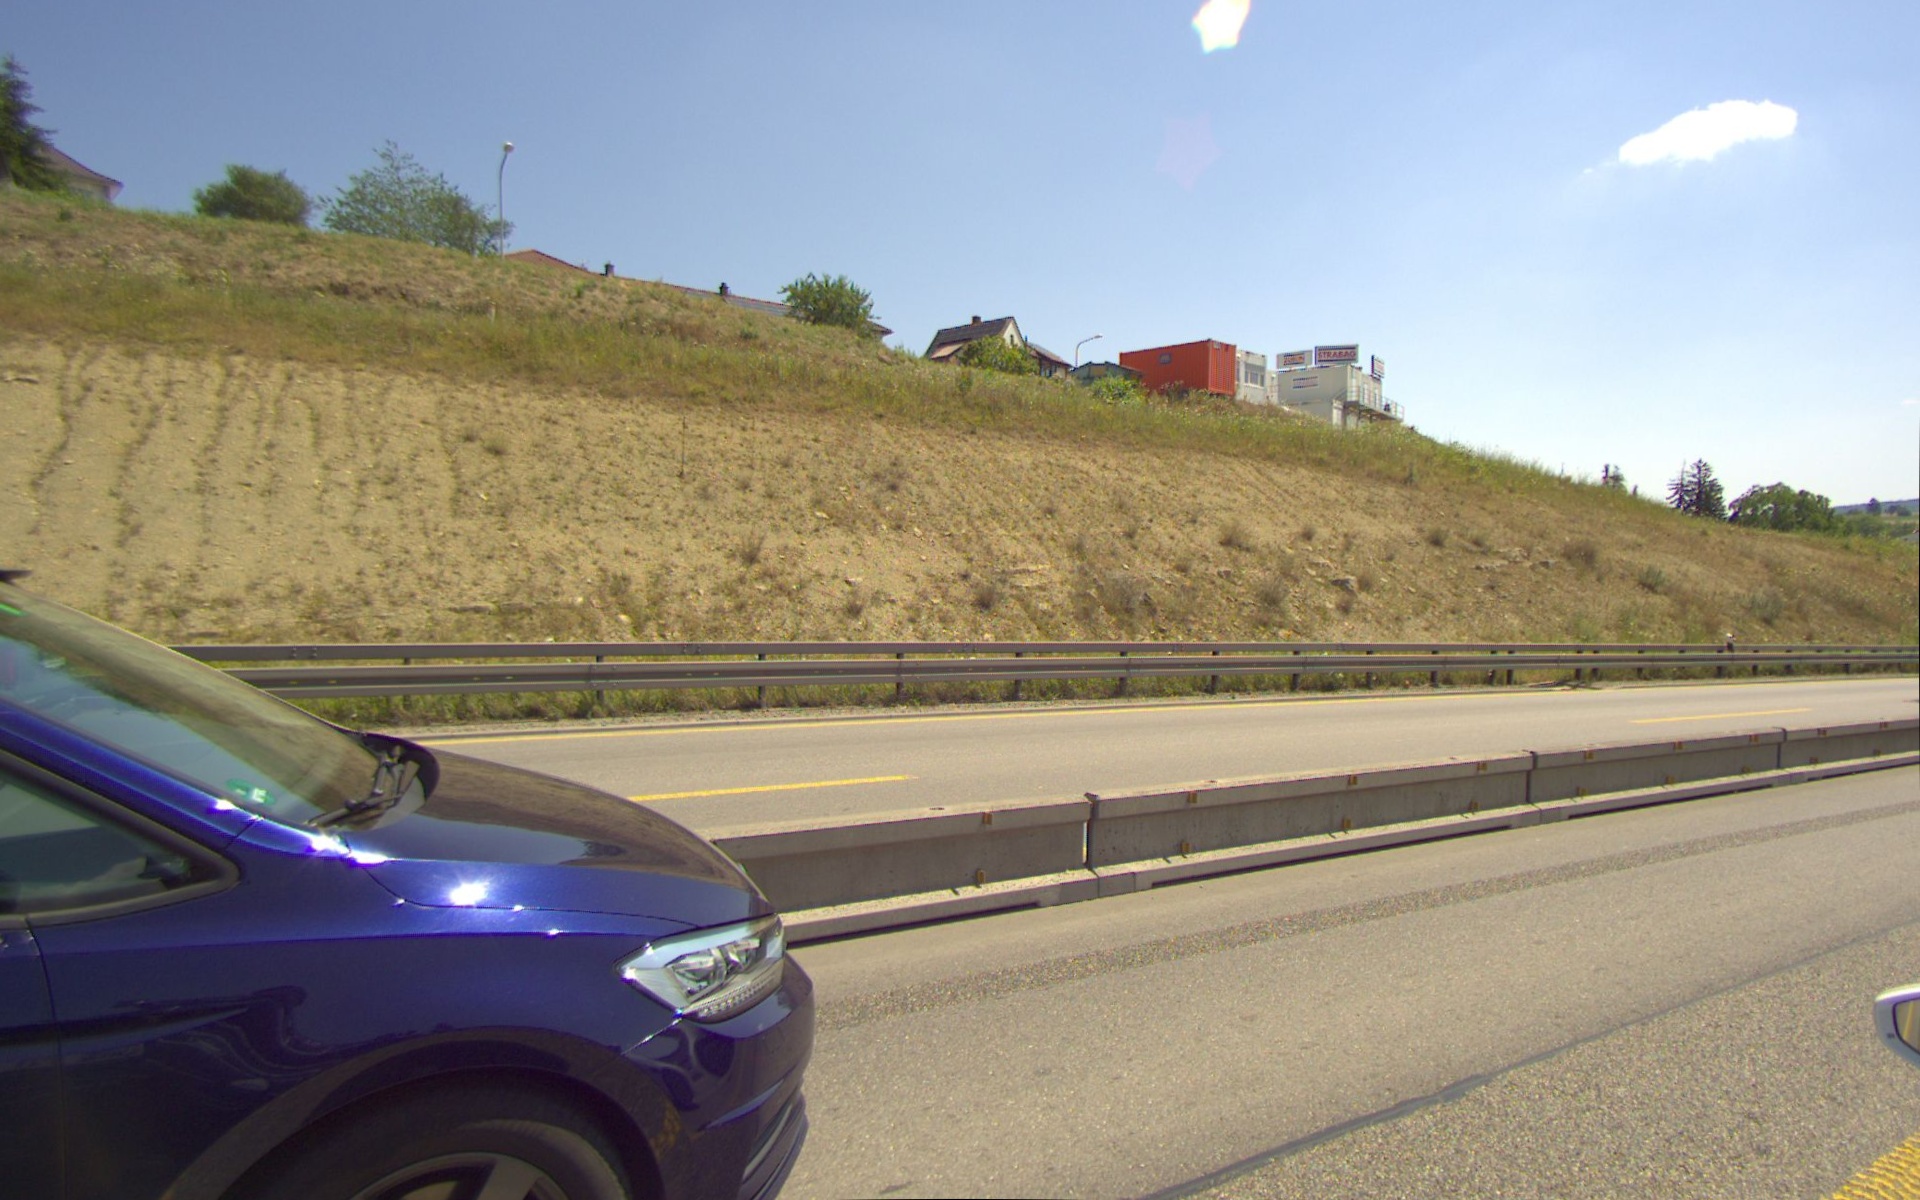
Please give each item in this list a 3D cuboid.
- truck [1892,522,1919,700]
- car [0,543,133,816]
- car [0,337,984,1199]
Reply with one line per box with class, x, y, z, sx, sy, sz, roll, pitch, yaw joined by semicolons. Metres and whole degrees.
truck;21.909;0.288;20.373;6.956;3.419;2.525;1;0;-31
car;-8.106;0.457;6.002;4.614;1.694;1.844;1;0;-31
car;-2.369;0.515;1.704;4.597;1.741;1.767;0;1;-30
